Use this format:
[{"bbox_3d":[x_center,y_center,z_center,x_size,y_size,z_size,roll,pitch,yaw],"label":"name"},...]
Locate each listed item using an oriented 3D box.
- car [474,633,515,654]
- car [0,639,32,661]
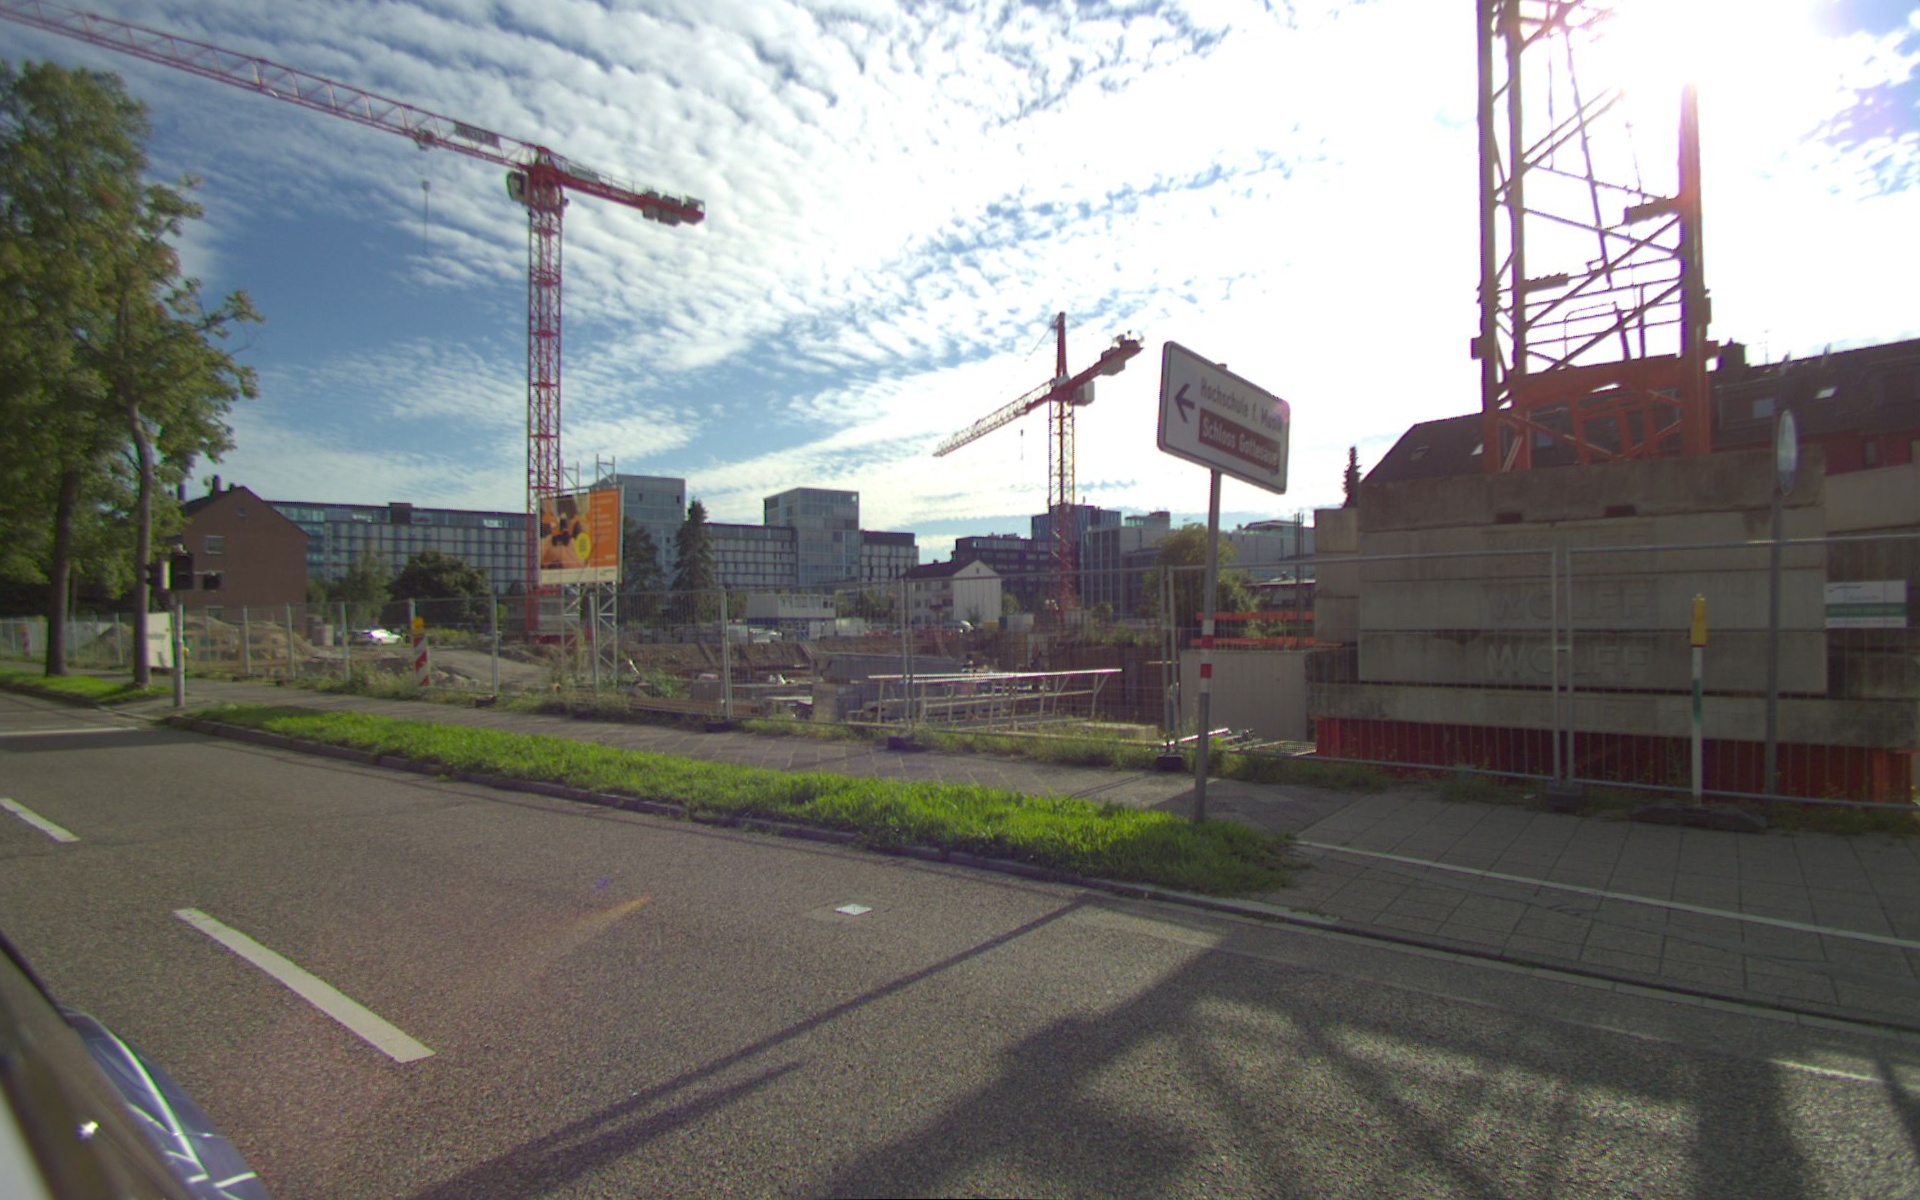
[{"bbox_3d":[-44.821,4.199,97.497,3.974,1.821,1.797,0,0,34],"label":"car"},{"bbox_3d":[-67.807,3.568,72.121,4.505,1.439,1.973,-1,-2,41],"label":"car"}]
